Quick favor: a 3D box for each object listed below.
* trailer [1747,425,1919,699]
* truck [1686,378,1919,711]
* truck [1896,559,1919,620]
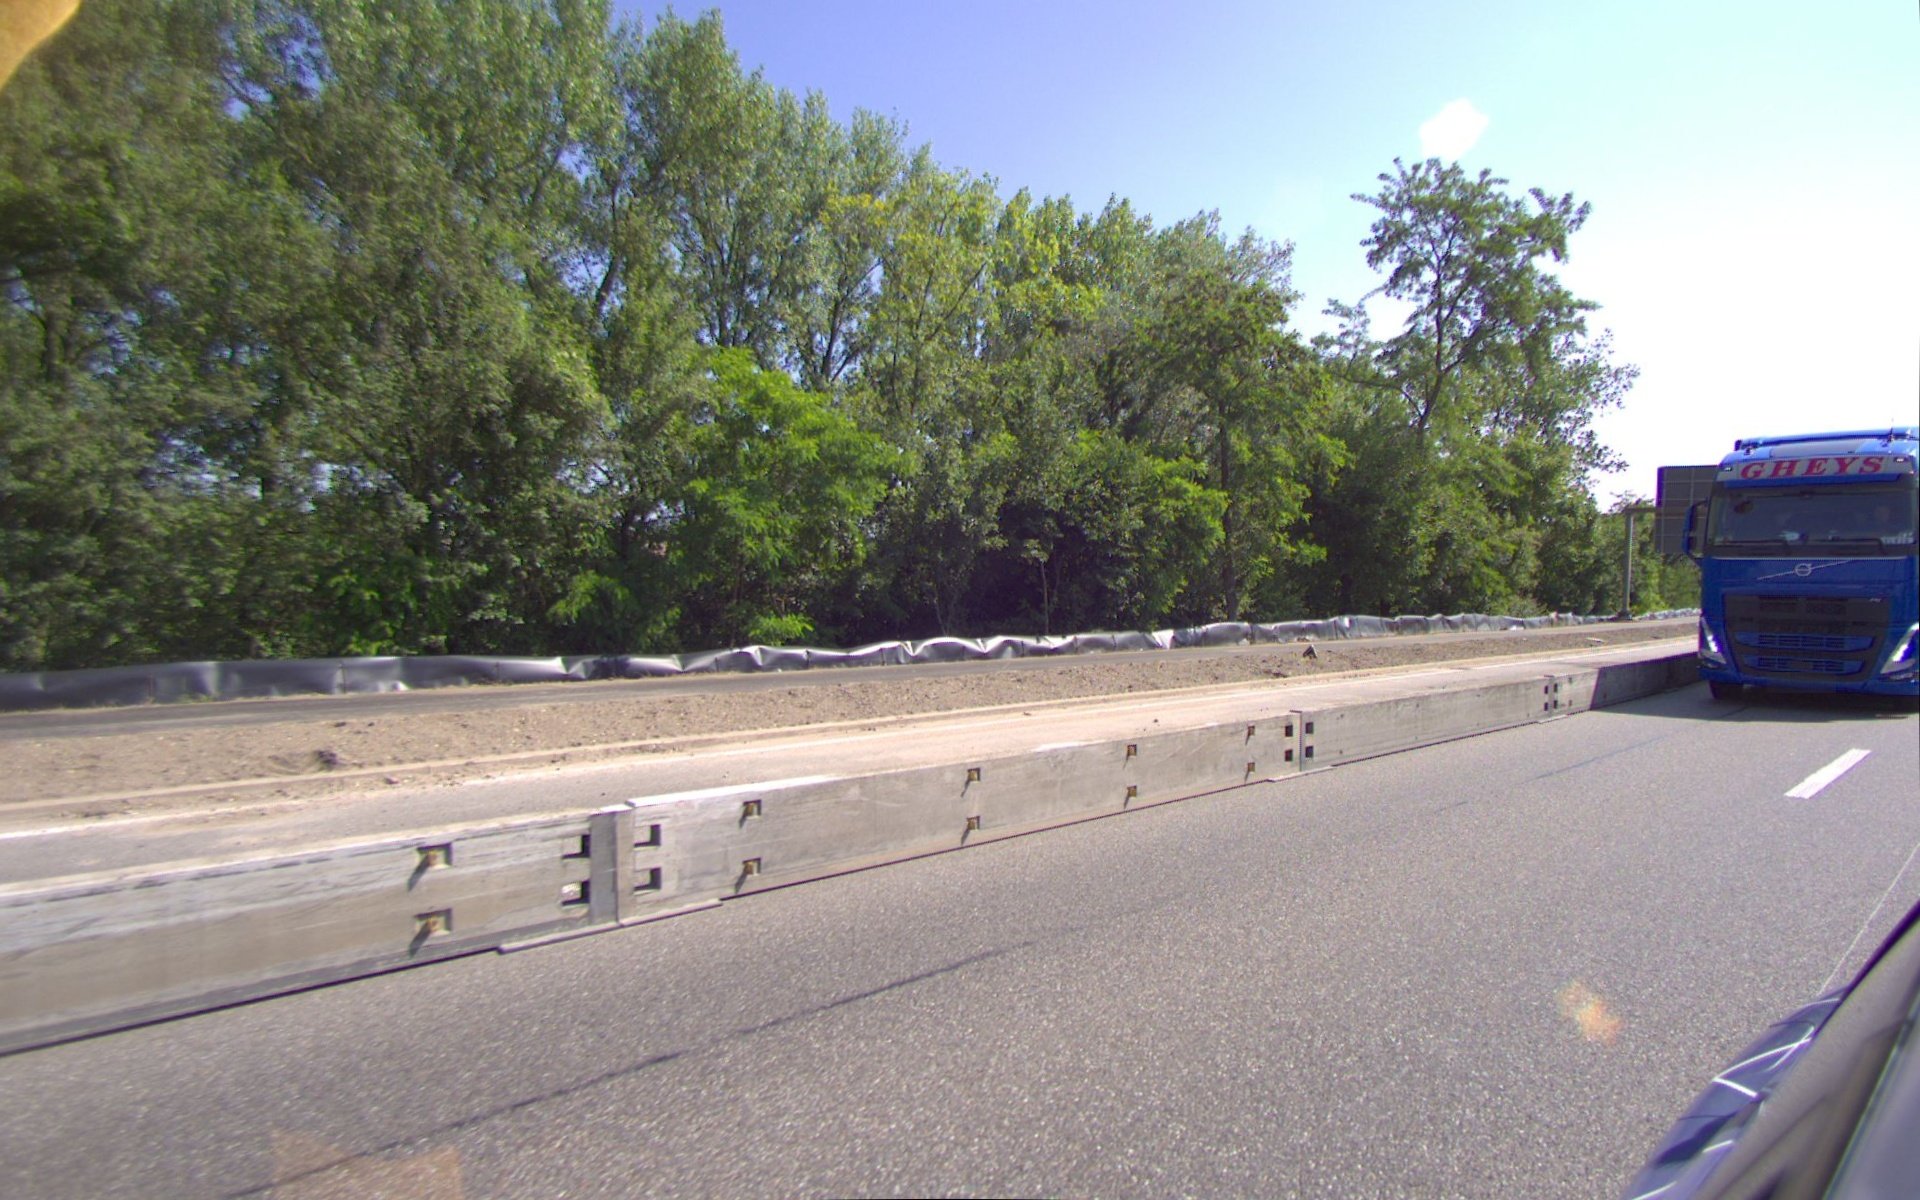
[{"bbox_3d":[18.935,-0.578,20.056,12.392,4.188,2.700,1,3,-41],"label":"trailer"},{"bbox_3d":[13.990,-0.681,15.805,7.172,4.154,2.699,1,0,-41],"label":"truck"},{"bbox_3d":[67.642,-0.654,70.874,2.854,4.033,8.531,4,3,43],"label":"truck"}]
